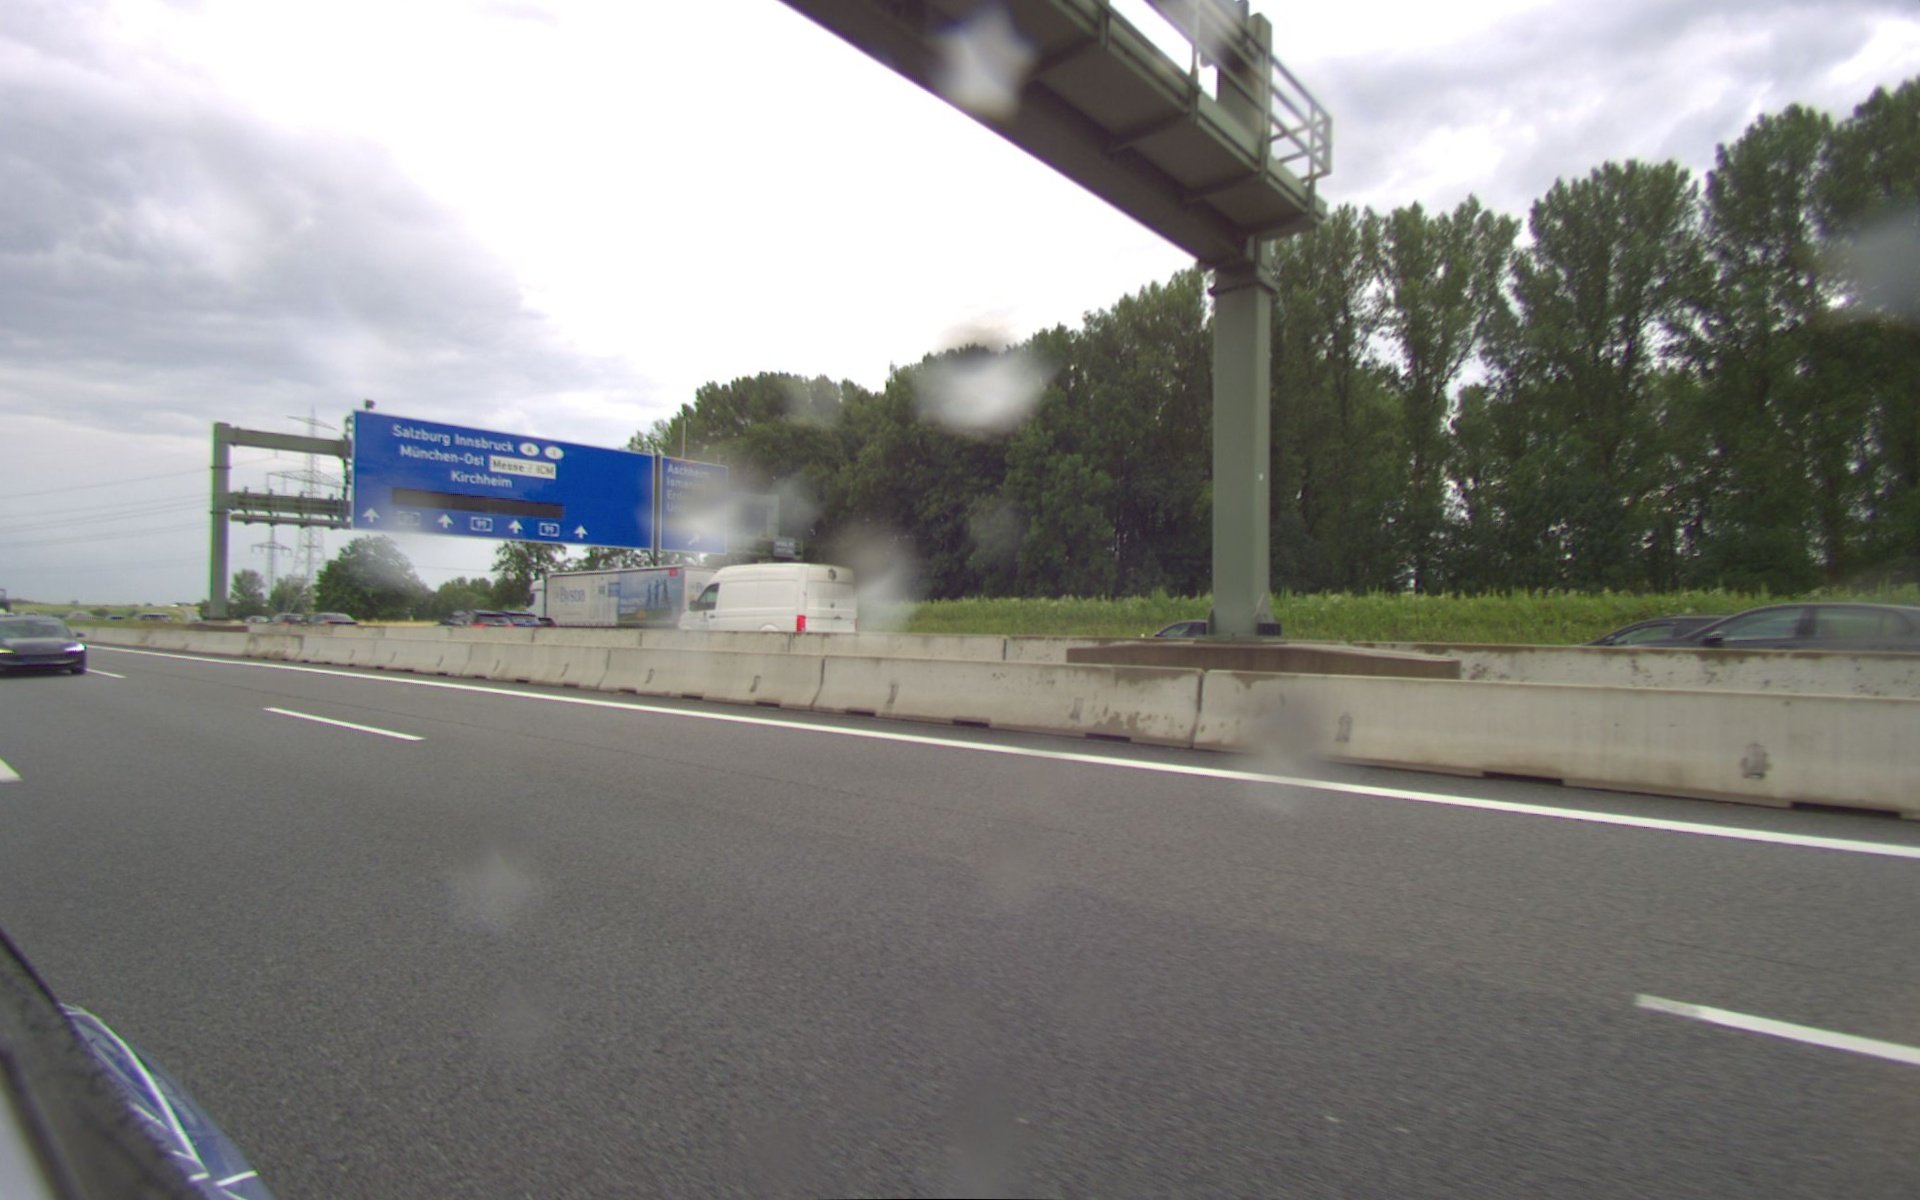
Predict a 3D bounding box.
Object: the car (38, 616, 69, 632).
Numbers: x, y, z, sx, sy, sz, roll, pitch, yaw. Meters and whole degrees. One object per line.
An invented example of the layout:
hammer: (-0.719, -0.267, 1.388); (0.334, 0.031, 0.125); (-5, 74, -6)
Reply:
car: (-96.533, 2.513, 107.802); (4.347, 1.625, 1.764); (-1, -1, 39)

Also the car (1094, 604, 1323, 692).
car: (6.274, 1.155, 26.025); (5.401, 2.029, 1.973); (-1, -1, 41)

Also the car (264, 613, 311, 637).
car: (-51.062, 1.886, 76.829); (4.015, 1.740, 1.973); (-1, -1, 41)

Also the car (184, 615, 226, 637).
car: (-61.826, 2.081, 82.863); (4.015, 1.740, 1.973); (-1, -1, 41)

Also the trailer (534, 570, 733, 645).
trailer: (-17.674, 0.453, 53.700); (14.444, 3.534, 3.077); (-1, -1, 41)

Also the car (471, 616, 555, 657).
car: (-20.381, 1.622, 46.090); (4.015, 1.740, 1.973); (-1, -1, 41)

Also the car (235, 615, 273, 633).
car: (-59.954, 2.049, 85.949); (4.015, 1.509, 1.736); (-1, -1, 41)

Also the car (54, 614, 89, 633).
car: (-85.853, 2.268, 97.798); (4.496, 1.710, 1.764); (-1, -1, 39)

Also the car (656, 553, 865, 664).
car: (-5.426, 0.257, 26.861); (6.339, 2.636, 1.973); (-1, -1, 41)

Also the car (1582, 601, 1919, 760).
car: (10.646, 0.939, 12.897); (4.426, 1.807, 1.687); (-1, -1, 40)

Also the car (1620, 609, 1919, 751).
car: (13.177, 1.182, 16.350); (3.997, 2.029, 1.973); (-1, -1, 40)

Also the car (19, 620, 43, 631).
car: (-121.603, 3.328, 132.487); (3.997, 1.422, 1.801); (-1, -1, 40)

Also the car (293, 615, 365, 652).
car: (-31.280, 1.637, 50.137); (4.015, 1.740, 1.973); (-1, -1, 41)

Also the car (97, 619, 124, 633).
car: (-88.525, 2.731, 105.463); (3.753, 1.422, 1.618); (-1, -1, 41)

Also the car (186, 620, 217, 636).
car: (-84.803, 3.150, 113.148); (4.347, 1.710, 1.764); (-1, -1, 39)

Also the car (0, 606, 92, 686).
car: (-23.304, 1.089, 25.296); (5.164, 1.834, 1.971); (-1, -1, 44)

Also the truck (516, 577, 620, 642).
truck: (-22.465, 0.575, 57.916); (6.097, 3.534, 3.103); (-1, -1, 41)

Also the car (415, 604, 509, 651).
car: (-18.850, 1.021, 38.251); (3.998, 1.670, 1.849); (-1, -1, 41)

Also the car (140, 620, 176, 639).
car: (-74.968, 2.732, 94.542); (4.016, 1.740, 1.972); (-1, -1, 42)

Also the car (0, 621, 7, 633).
car: (-164.896, 4.658, 173.173); (4.949, 1.985, 2.051); (-1, -1, 40)
